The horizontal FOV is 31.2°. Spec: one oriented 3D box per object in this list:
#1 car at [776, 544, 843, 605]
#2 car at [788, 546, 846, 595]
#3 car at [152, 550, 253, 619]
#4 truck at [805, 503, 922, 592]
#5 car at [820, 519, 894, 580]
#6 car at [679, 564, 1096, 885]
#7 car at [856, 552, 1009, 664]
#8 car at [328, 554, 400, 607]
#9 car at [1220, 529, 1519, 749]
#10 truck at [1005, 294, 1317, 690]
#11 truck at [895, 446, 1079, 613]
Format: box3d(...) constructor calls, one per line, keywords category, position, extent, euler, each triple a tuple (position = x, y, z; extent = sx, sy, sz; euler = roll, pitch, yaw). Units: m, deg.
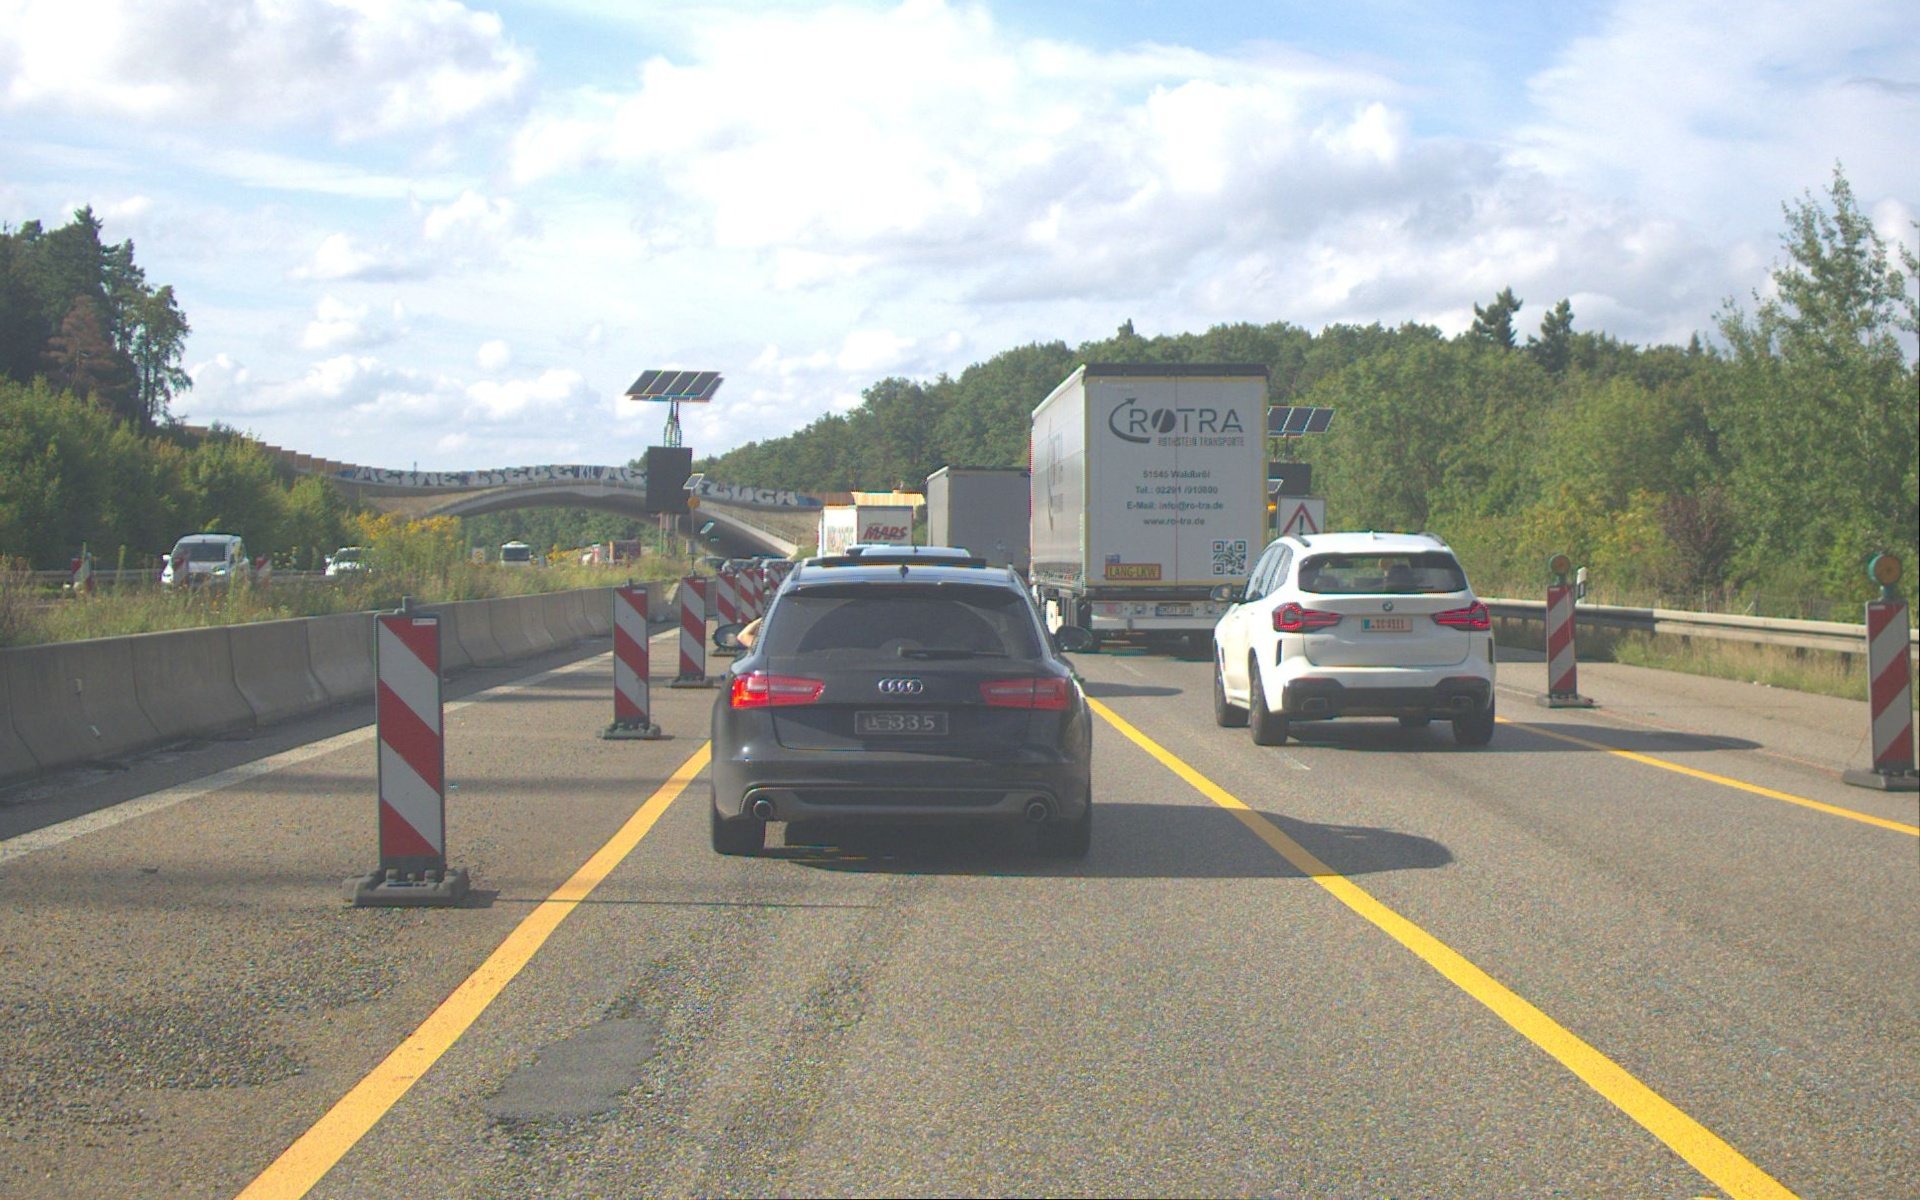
box3d(category="car", position=(-5.096, -0.858, 116.172), extent=(1.993, 2.007, 4.001), euler=(1, 1, -6))
box3d(category="car", position=(-6.031, -1.232, 144.769), extent=(1.993, 2.007, 4.001), euler=(1, 1, -8))
box3d(category="car", position=(-20.309, -0.420, 92.317), extent=(1.778, 1.780, 4.365), euler=(1, 1, -1))
box3d(category="truck", position=(-4.546, -2.404, 158.997), extent=(3.653, 3.915, 11.070), euler=(1, 1, -11))
box3d(category="car", position=(-2.903, -1.412, 96.505), extent=(1.890, 1.638, 4.018), euler=(1, 1, -4))
box3d(category="car", position=(-0.355, 0.552, 17.743), extent=(1.890, 1.441, 4.000), euler=(1, 1, -1))
box3d(category="car", position=(-0.420, 0.088, 47.251), extent=(1.890, 1.441, 4.001), euler=(1, 1, -3))
box3d(category="car", position=(-20.813, -0.690, 120.197), extent=(1.778, 1.780, 4.365), euler=(1, 1, -1))
box3d(category="car", position=(3.255, 0.277, 28.044), extent=(1.890, 1.638, 4.018), euler=(1, 1, -1))
box3d(category="truck", position=(2.835, -1.542, 54.793), extent=(3.677, 5.335, 16.202), euler=(1, 1, -1))
box3d(category="truck", position=(0.655, -2.010, 101.149), extent=(4.318, 4.584, 11.127), euler=(1, 1, -5))
